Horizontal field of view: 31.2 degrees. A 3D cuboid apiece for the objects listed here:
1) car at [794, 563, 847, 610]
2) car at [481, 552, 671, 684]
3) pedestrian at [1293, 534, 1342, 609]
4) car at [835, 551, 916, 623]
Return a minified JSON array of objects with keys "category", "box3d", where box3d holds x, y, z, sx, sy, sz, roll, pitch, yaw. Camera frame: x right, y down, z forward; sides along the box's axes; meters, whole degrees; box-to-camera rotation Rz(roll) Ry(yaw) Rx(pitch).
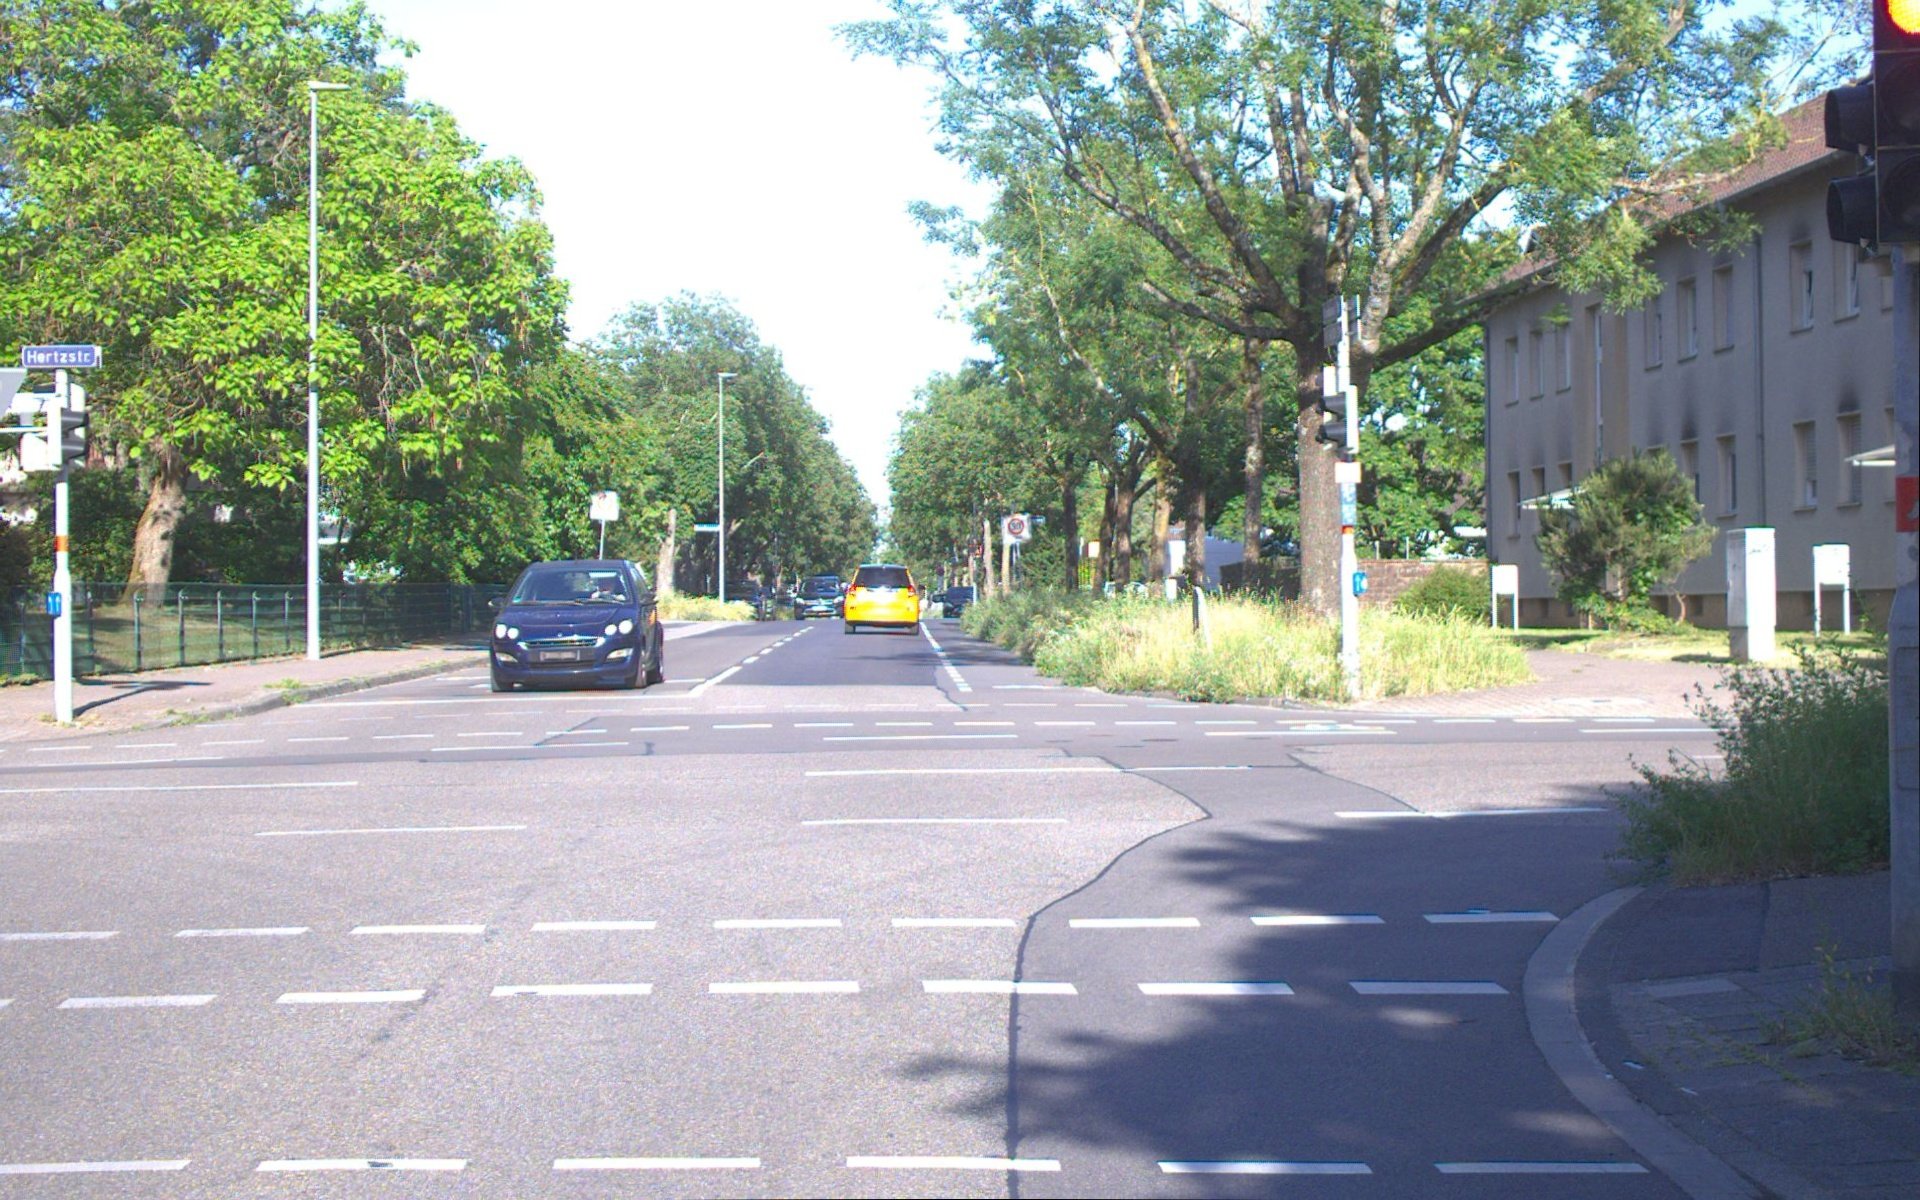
[{"category":"car","box3d":[-4.982,-0.494,123.189,1.758,1.619,3.268,0,1,0]},{"category":"car","box3d":[-4.269,0.174,38.622,1.711,1.381,3.471,0,1,0]},{"category":"pedestrian","box3d":[7.321,-0.583,70.407,0.842,1.488,0.924,2,1,-1]},{"category":"car","box3d":[-1.891,-0.309,78.188,1.751,1.577,4.000,1,0,0]}]
